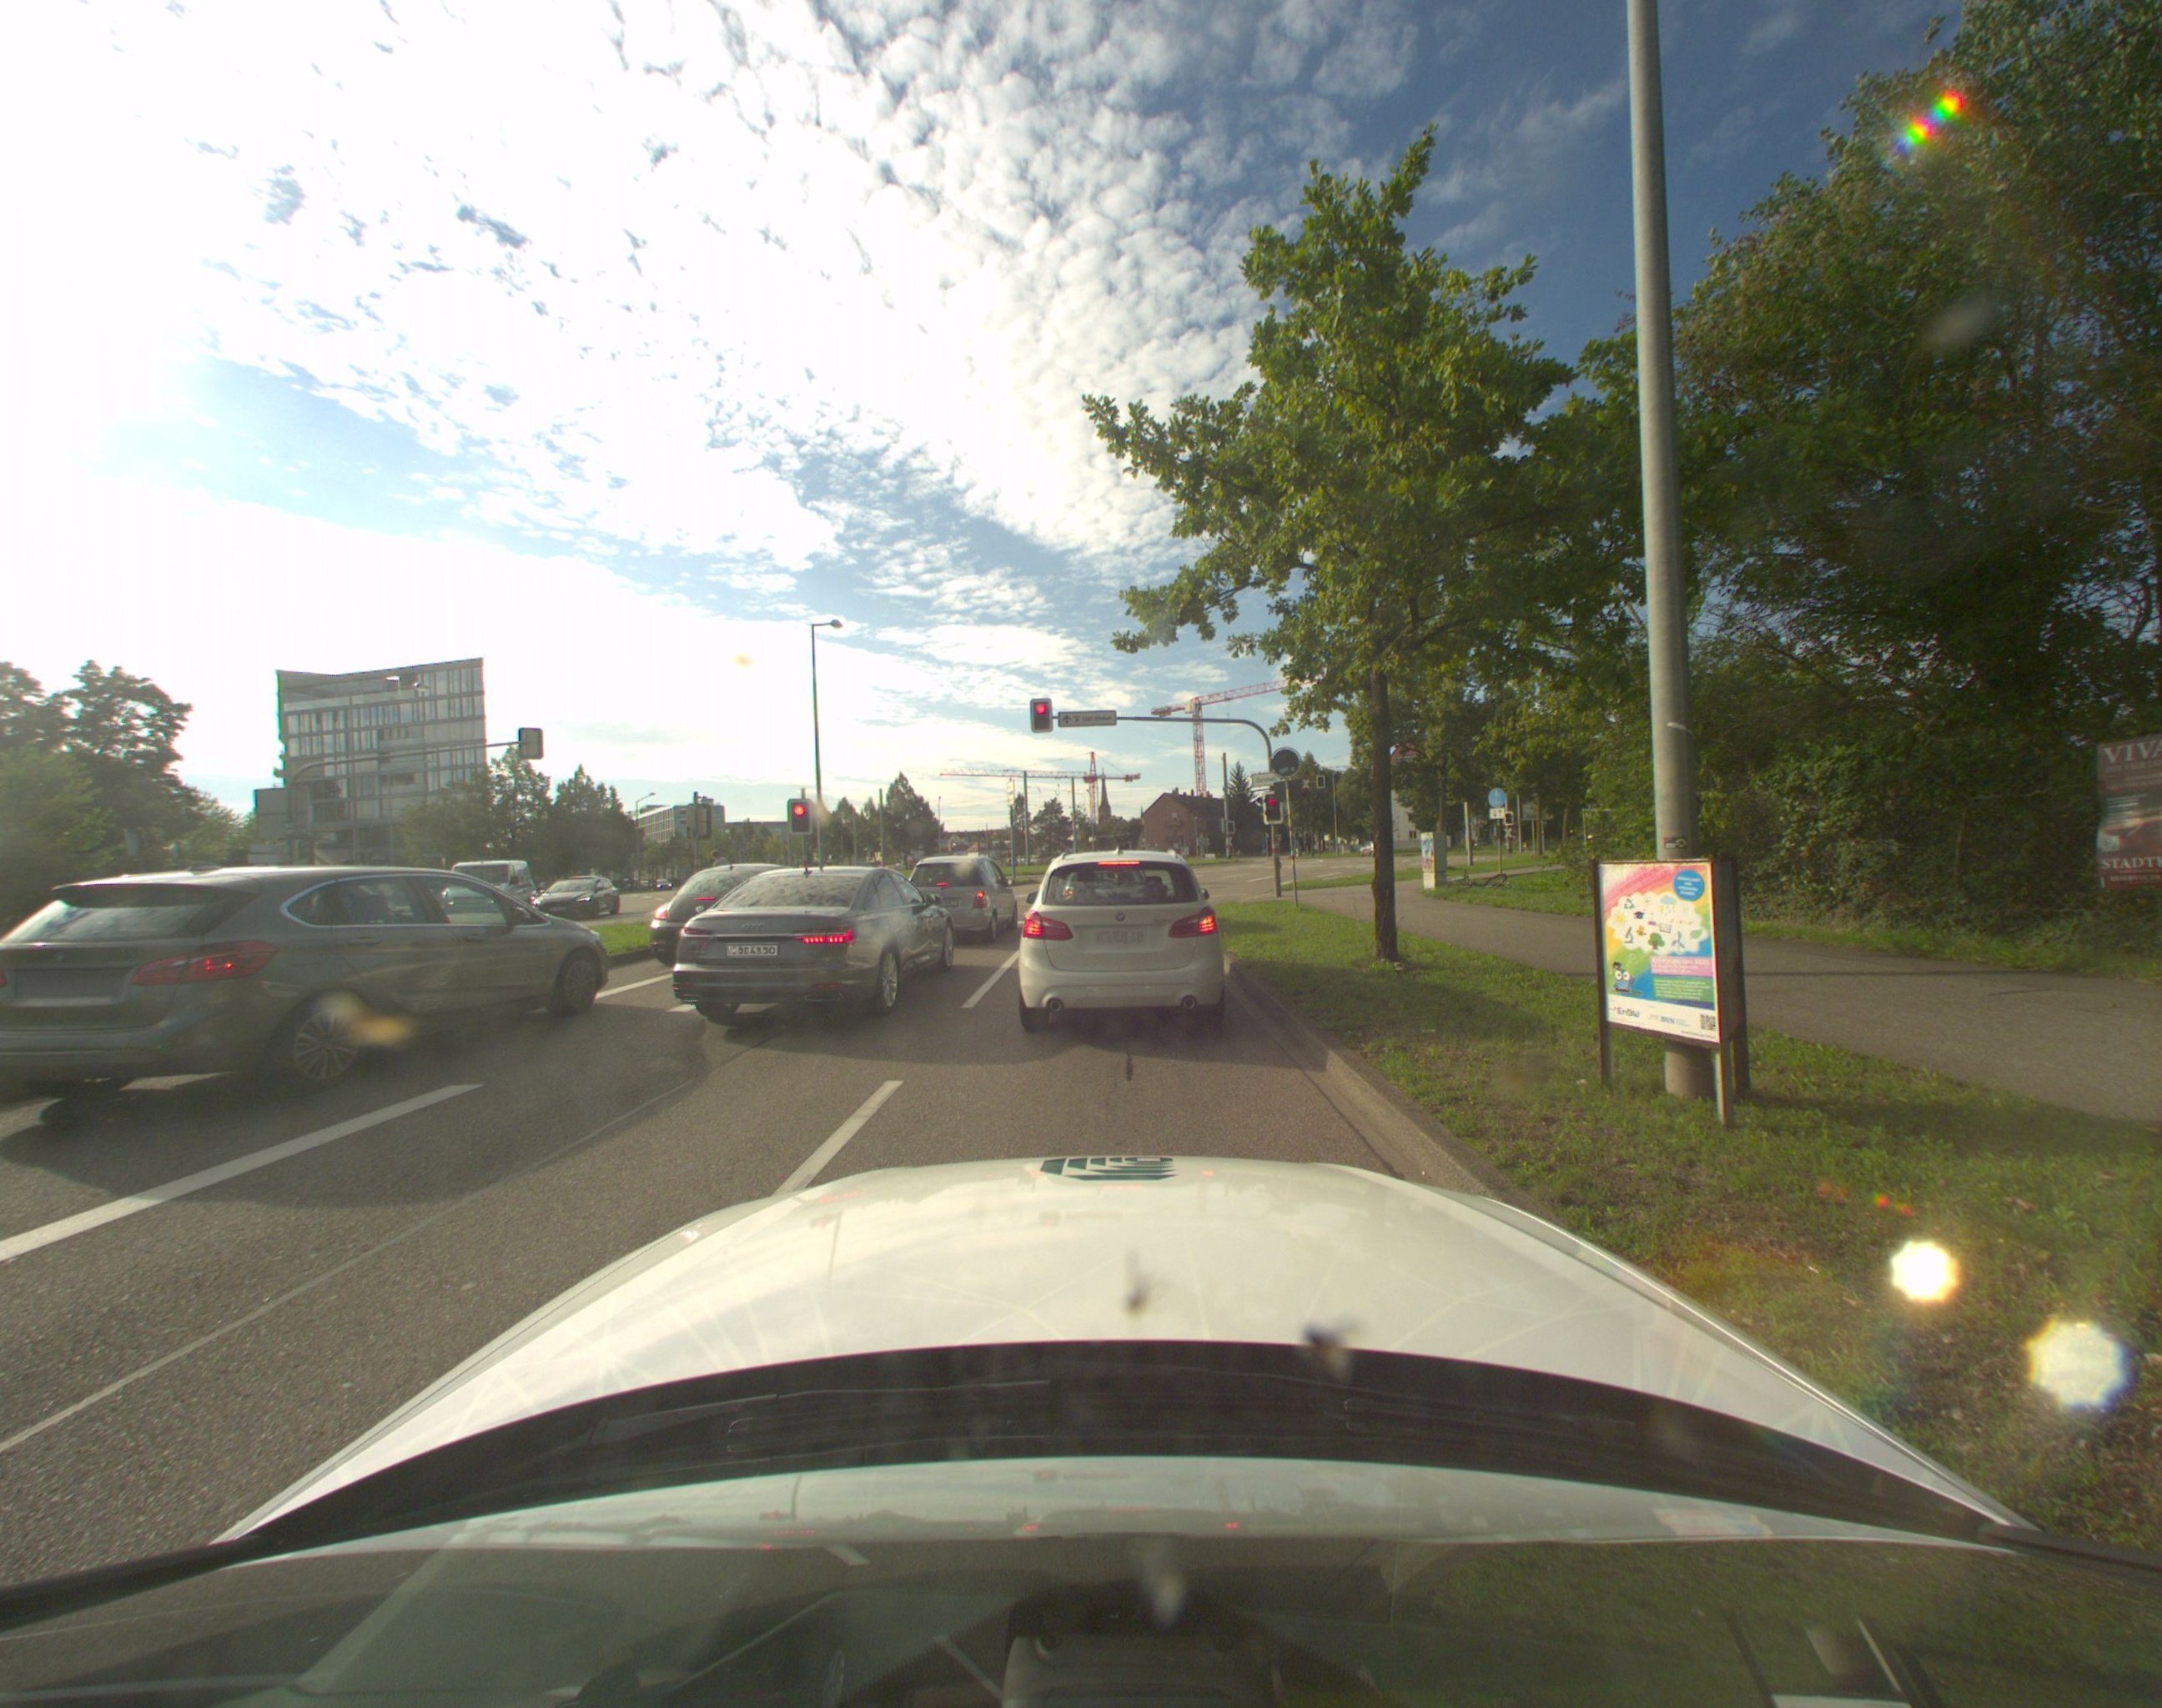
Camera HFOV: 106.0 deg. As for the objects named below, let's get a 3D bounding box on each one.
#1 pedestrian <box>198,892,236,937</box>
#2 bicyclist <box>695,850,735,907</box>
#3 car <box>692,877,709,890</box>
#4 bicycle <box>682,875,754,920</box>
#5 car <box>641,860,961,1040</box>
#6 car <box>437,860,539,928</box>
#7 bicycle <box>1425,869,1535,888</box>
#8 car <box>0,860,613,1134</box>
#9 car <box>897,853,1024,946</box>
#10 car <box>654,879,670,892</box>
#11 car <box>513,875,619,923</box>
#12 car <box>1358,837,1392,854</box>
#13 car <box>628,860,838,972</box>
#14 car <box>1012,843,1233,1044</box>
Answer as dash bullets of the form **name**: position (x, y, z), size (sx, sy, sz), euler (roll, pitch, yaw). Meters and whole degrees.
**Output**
- **pedestrian**: position (-31.497, 2.206, 29.692), size (0.654, 1.569, 0.614), euler (-2, -1, -5)
- **bicyclist**: position (-10.272, 0.688, 22.883), size (0.850, 1.526, 0.737), euler (-3, -1, -15)
- **car**: position (-45.702, 3.537, 97.878), size (1.623, 1.464, 3.701), euler (-3, 0, -24)
- **bicycle**: position (-10.184, 1.209, 22.897), size (1.728, 1.163, 0.652), euler (-2, -1, -15)
- **car**: position (-2.723, 0.835, 9.226), size (1.883, 1.483, 4.614), euler (-1, -1, 2)
- **car**: position (-22.856, 1.501, 31.646), size (2.004, 2.235, 5.874), euler (-4, 0, -25)
- **bicycle**: position (10.507, 0.624, 21.622), size (1.407, 0.385, 2.568), euler (-3, 0, -9)
- **car**: position (-5.996, 0.862, 6.791), size (1.722, 1.558, 4.021), euler (-1, 0, 2)
- **car**: position (-2.211, 0.780, 16.015), size (1.722, 1.558, 4.060), euler (-1, 0, 2)
- **car**: position (-51.012, 3.781, 99.187), size (1.600, 1.415, 3.639), euler (-3, 0, -25)
- **car**: position (-18.001, 1.518, 28.694), size (1.904, 1.410, 4.185), euler (-4, -1, -15)
- **car**: position (28.557, -0.822, 79.200), size (1.572, 1.574, 3.184), euler (-2, 1, -13)
- **car**: position (-5.434, 0.879, 13.274), size (1.674, 1.523, 3.811), euler (-1, 0, 1)
- **car**: position (0.387, 0.711, 8.494), size (1.723, 1.558, 4.059), euler (-1, 0, 2)
